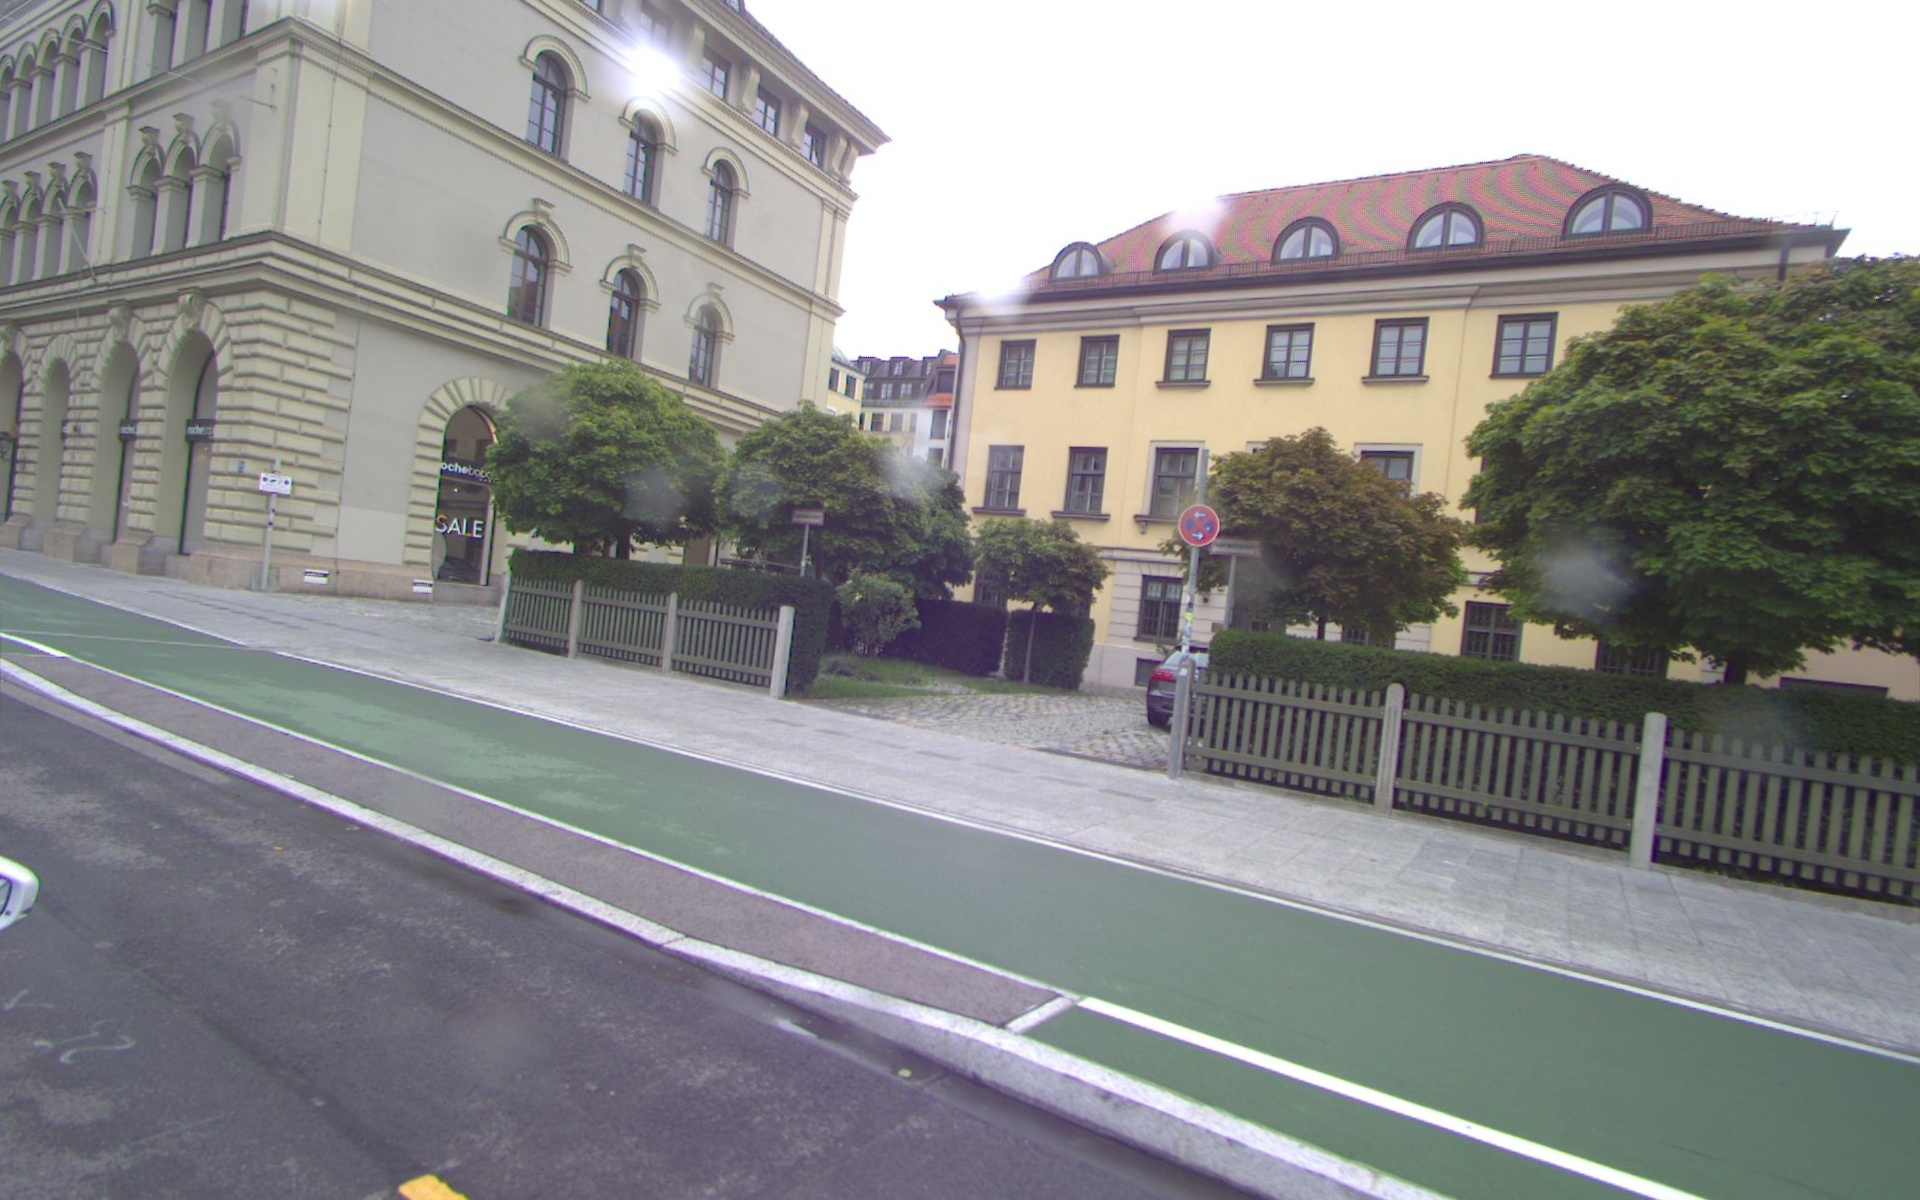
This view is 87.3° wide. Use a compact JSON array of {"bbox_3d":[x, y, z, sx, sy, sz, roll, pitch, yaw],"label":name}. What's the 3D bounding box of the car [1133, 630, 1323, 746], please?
[{"bbox_3d":[4.583,1.462,16.802,1.838,1.508,3.821,7,-1,33],"label":"car"}]
